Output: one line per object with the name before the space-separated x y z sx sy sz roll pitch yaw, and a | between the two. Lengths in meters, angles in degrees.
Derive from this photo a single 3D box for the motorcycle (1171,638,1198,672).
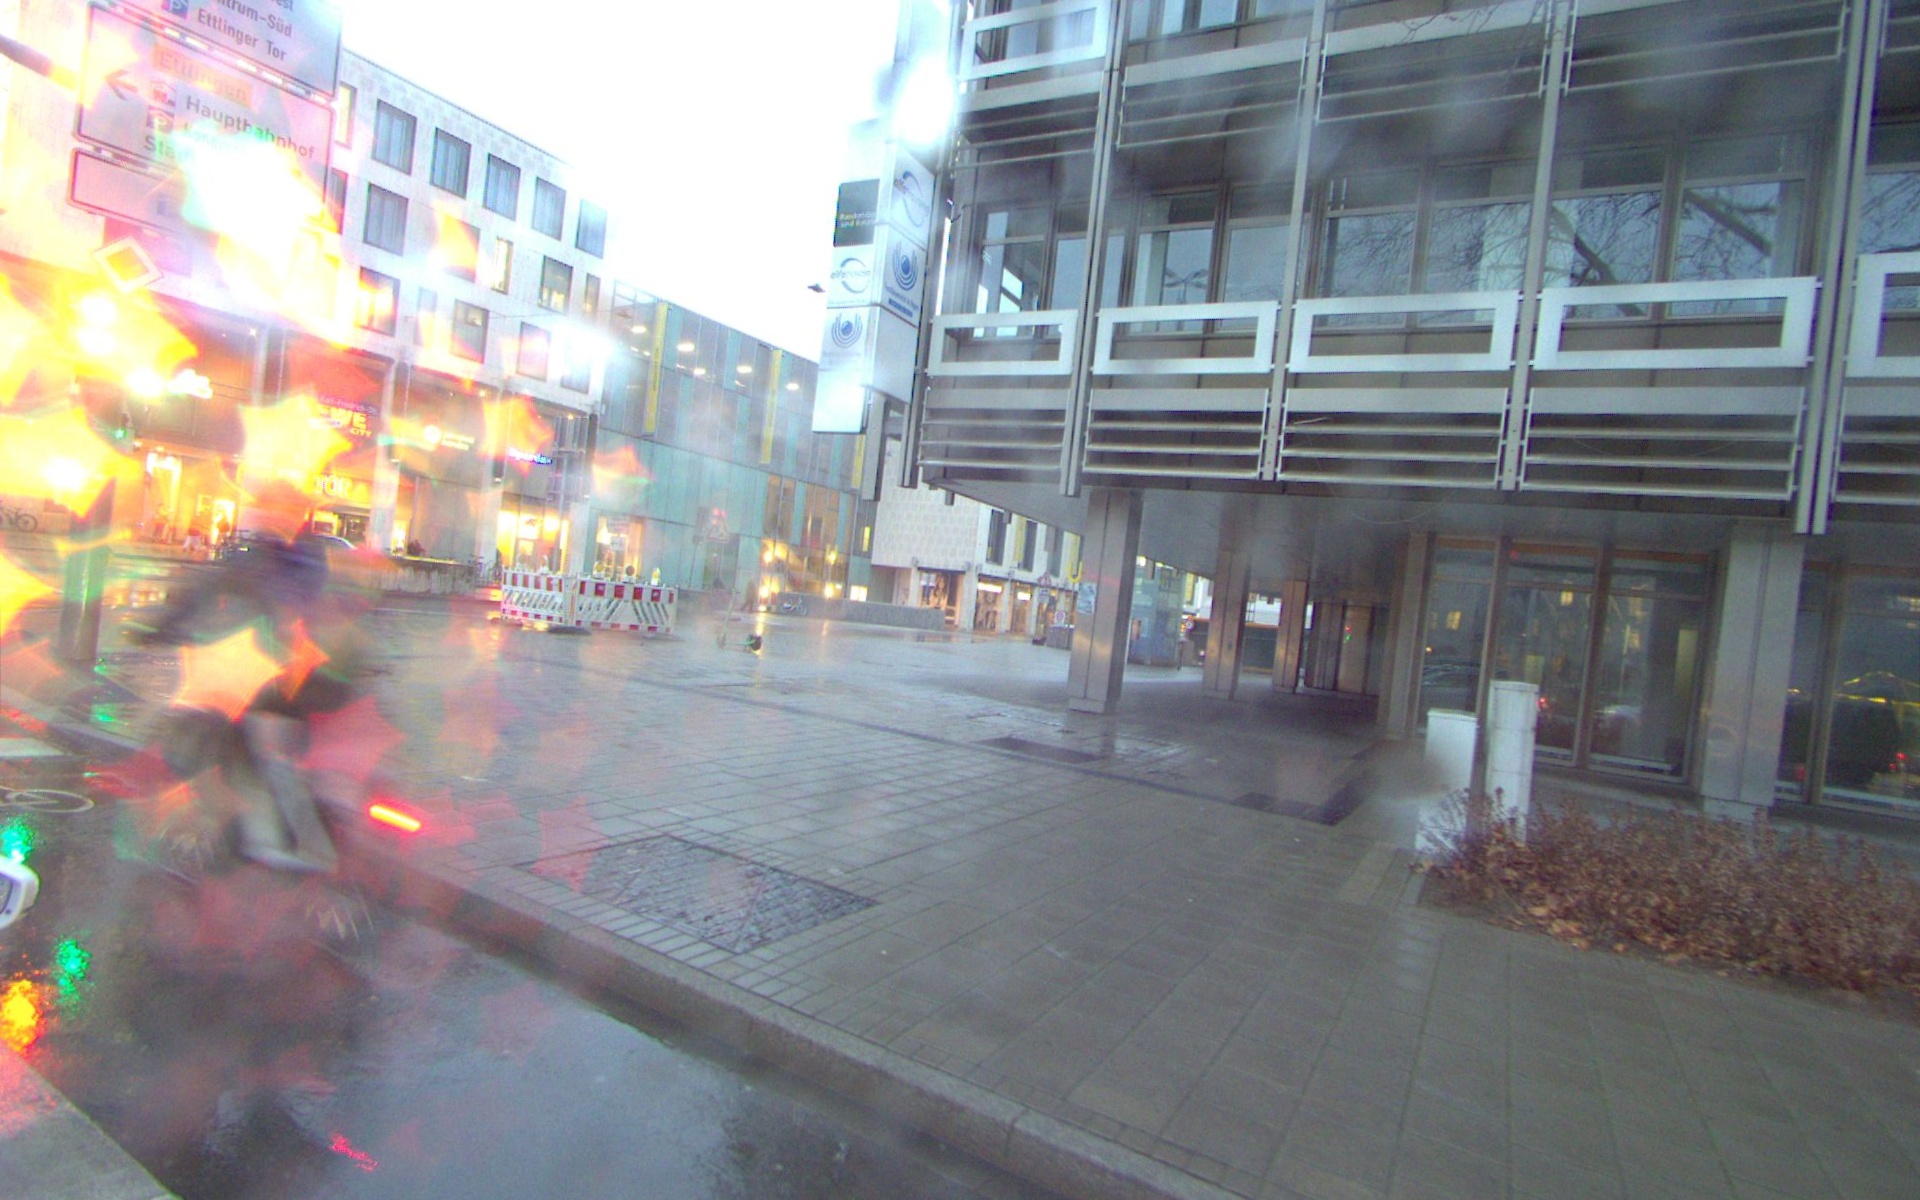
motorcycle | 9.782 2.407 43.771 0.584 1.368 1.493 7 -1 29

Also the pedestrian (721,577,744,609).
pedestrian | -13.145 -0.394 58.147 0.770 1.703 0.742 6 -1 38

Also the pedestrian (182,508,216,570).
pedestrian | -31.773 -2.539 42.006 0.745 2.469 0.691 6 -1 31

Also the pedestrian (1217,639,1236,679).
pedestrian | 12.555 2.794 47.410 0.678 1.796 0.660 7 -1 16

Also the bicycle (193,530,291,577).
bicycle | -26.205 -1.667 36.786 0.941 1.375 2.718 6 -1 28

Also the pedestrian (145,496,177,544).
pedestrian | -35.926 -3.589 45.239 0.688 2.039 0.845 7 1 40

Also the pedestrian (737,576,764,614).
pedestrian | -9.992 -0.248 47.966 0.770 1.703 0.742 6 -1 38

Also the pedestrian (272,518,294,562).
pedestrian | -29.156 -2.580 43.350 0.355 1.849 0.551 6 1 32

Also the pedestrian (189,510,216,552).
pedestrian | -33.593 -3.061 44.607 0.729 1.740 0.733 6 1 -31

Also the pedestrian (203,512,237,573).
pedestrian | -31.456 -2.434 42.764 0.778 2.477 0.694 6 -1 31

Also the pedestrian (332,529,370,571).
pedestrian | -27.008 -2.211 44.624 0.810 1.703 1.032 6 -1 31

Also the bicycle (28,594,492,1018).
bicycle | -2.681 0.651 3.800 1.754 1.107 0.709 7 0 32

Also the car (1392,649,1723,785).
car | 8.843 1.654 15.139 3.935 1.327 1.994 6 1 33

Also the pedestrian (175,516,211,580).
pedestrian | -31.252 -2.104 40.990 0.745 2.469 0.716 6 -1 31

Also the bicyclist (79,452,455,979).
bicyclist | -2.595 0.364 3.776 0.948 1.680 0.703 7 1 32

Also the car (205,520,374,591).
car | -21.601 -1.398 32.570 1.968 1.636 3.994 6 -2 33

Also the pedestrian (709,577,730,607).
pedestrian | -14.607 -0.488 61.166 0.770 1.703 0.742 6 -1 38

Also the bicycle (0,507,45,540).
bicycle | -36.277 -2.961 38.519 0.515 1.082 1.651 7 -2 28

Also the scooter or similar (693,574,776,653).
scooter or similar | -4.526 0.271 20.140 1.470 1.368 0.593 7 -1 32

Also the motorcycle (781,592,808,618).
motorcycle | -10.042 0.299 61.047 0.585 1.368 1.491 7 -1 36

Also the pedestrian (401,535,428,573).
pedestrian | -26.381 -2.230 48.682 0.519 1.705 0.894 6 0 31

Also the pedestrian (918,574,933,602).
pedestrian | -2.189 -0.783 63.941 0.573 1.703 0.542 6 -1 38
